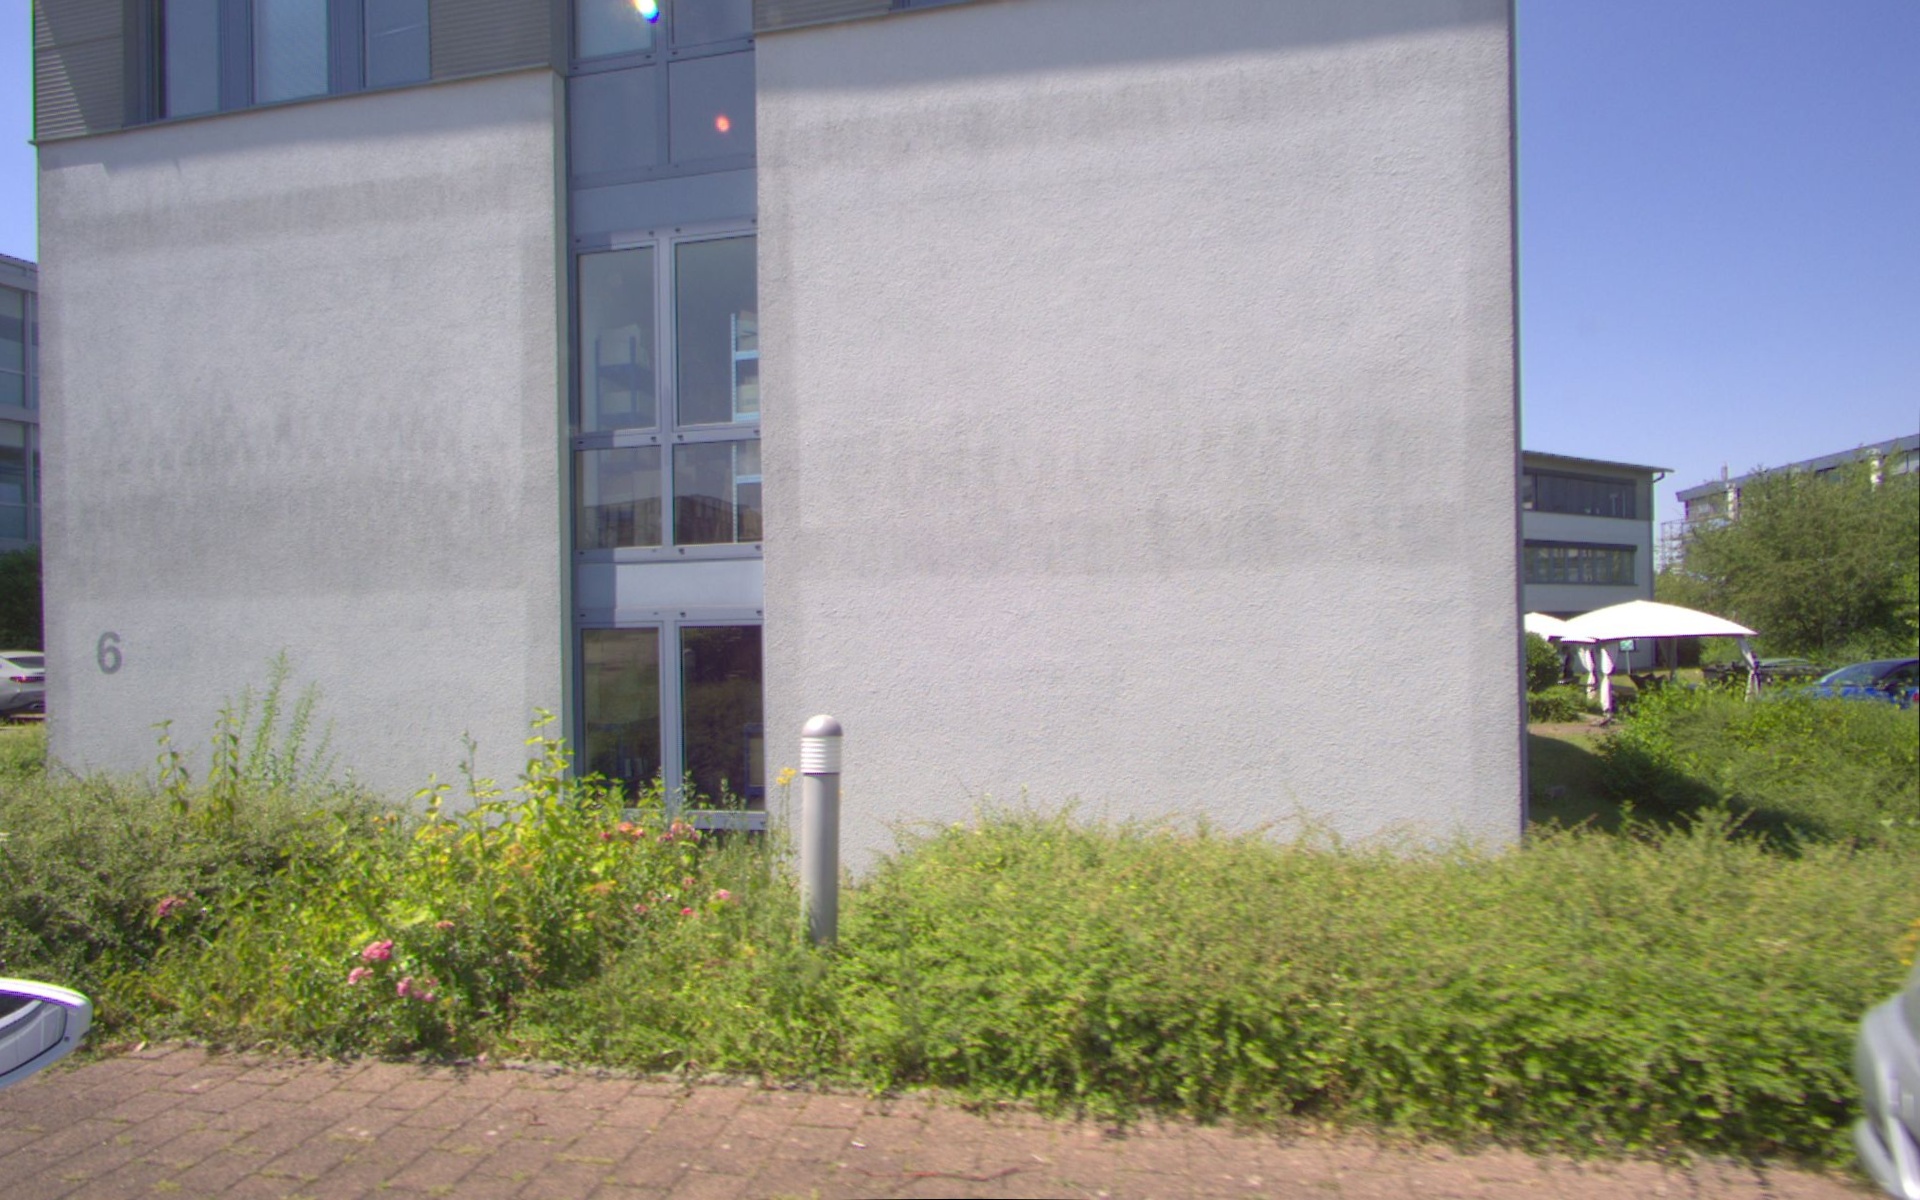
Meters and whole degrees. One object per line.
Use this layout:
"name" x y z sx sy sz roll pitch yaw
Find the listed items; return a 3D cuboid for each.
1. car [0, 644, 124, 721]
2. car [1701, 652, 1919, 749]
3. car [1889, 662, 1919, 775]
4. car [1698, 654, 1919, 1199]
"car" -19.504 1.622 20.387 4.261 1.447 1.740 0 -3 17
"car" 15.404 1.641 16.698 4.524 1.512 1.857 0 -2 9
"car" 15.322 1.611 13.086 4.342 1.538 1.857 0 -2 9
"car" 3.938 0.789 1.355 4.337 1.416 1.805 -1 -2 12
